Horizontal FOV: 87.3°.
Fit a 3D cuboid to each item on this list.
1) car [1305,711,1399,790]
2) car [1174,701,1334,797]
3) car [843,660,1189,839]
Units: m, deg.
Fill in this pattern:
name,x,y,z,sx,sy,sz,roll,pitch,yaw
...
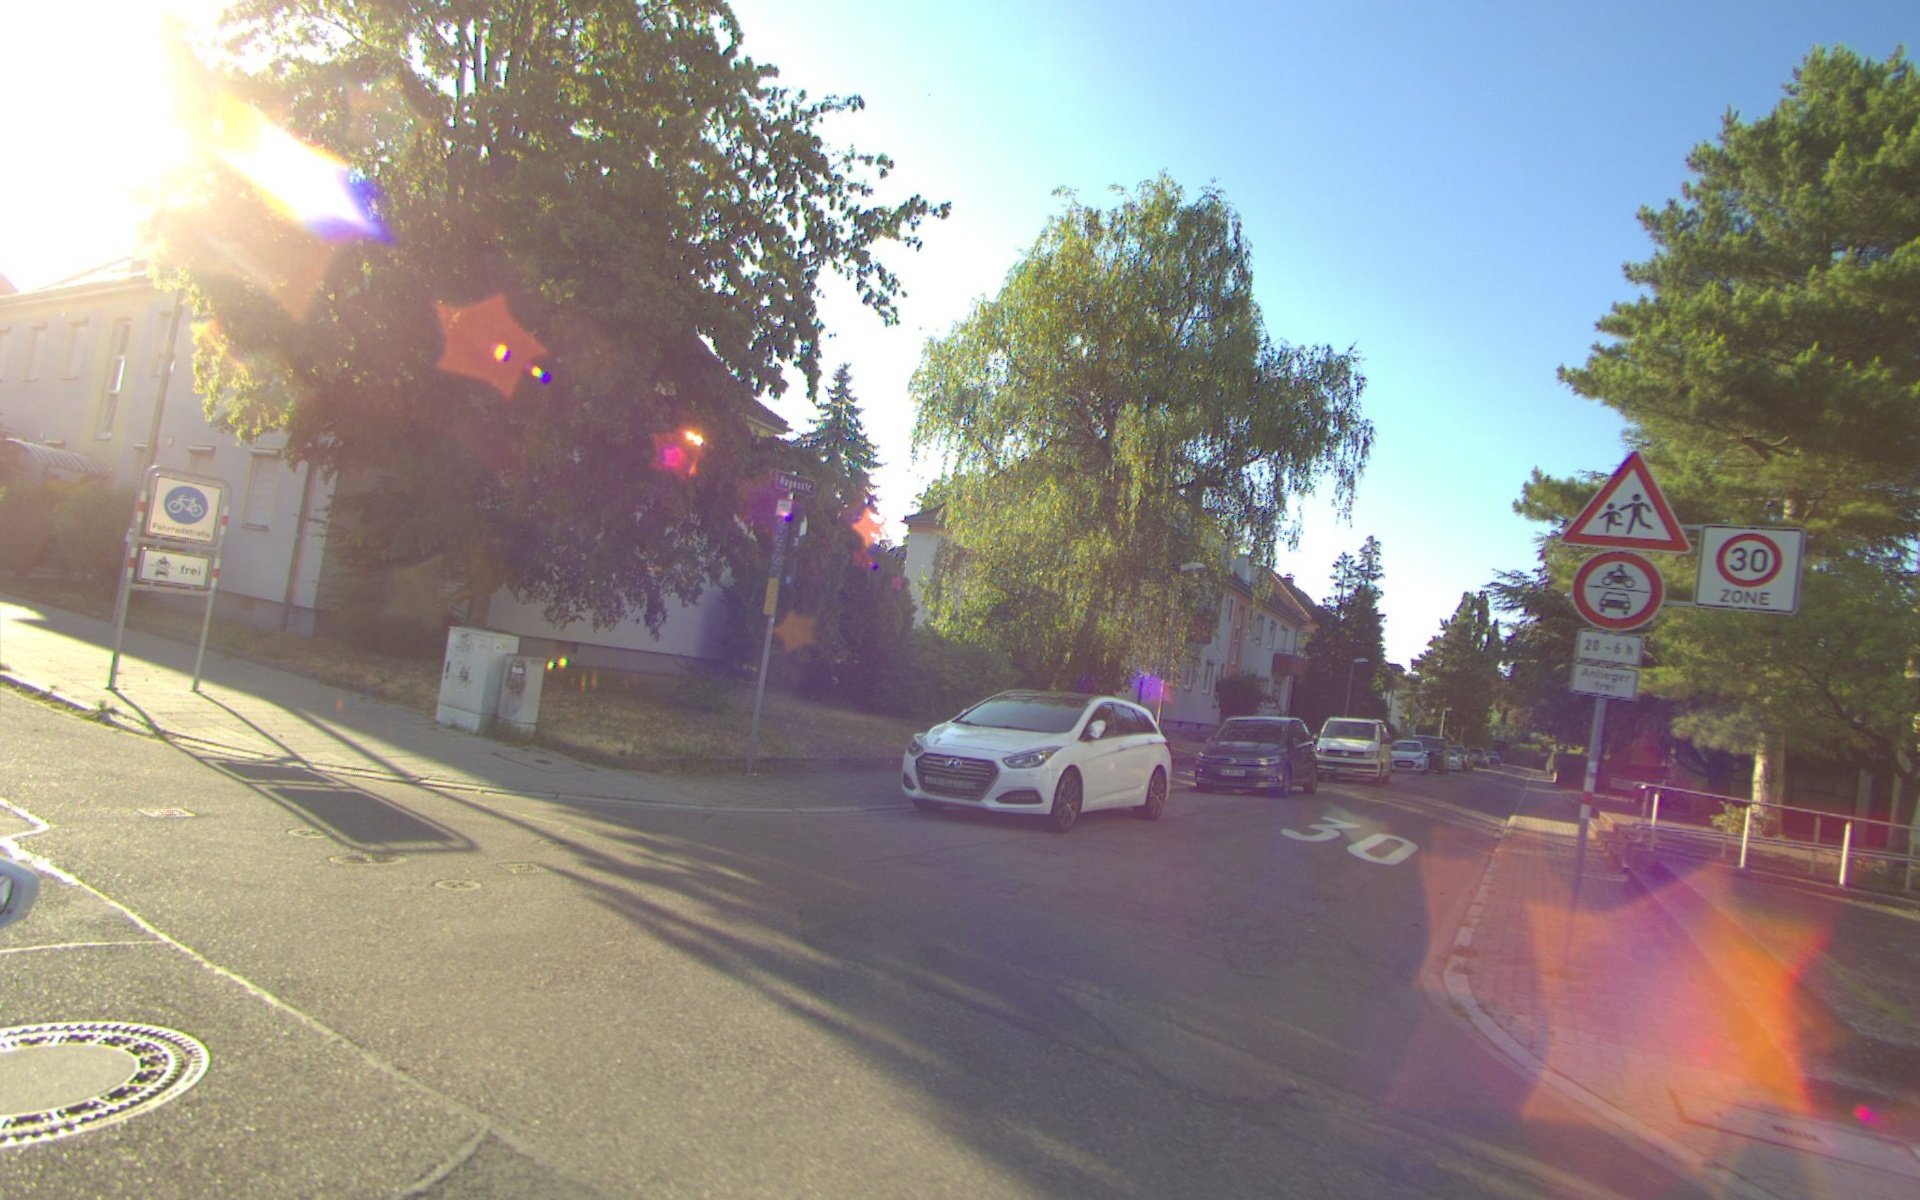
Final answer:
name,x,y,z,sx,sy,sz,roll,pitch,yaw
car,12.263,4.635,31.267,2.136,1.993,5.022,4,-5,27
car,6.255,3.142,21.056,1.968,1.525,4.127,6,-5,34
car,0.939,1.745,11.781,1.970,1.500,4.864,3,-7,30
